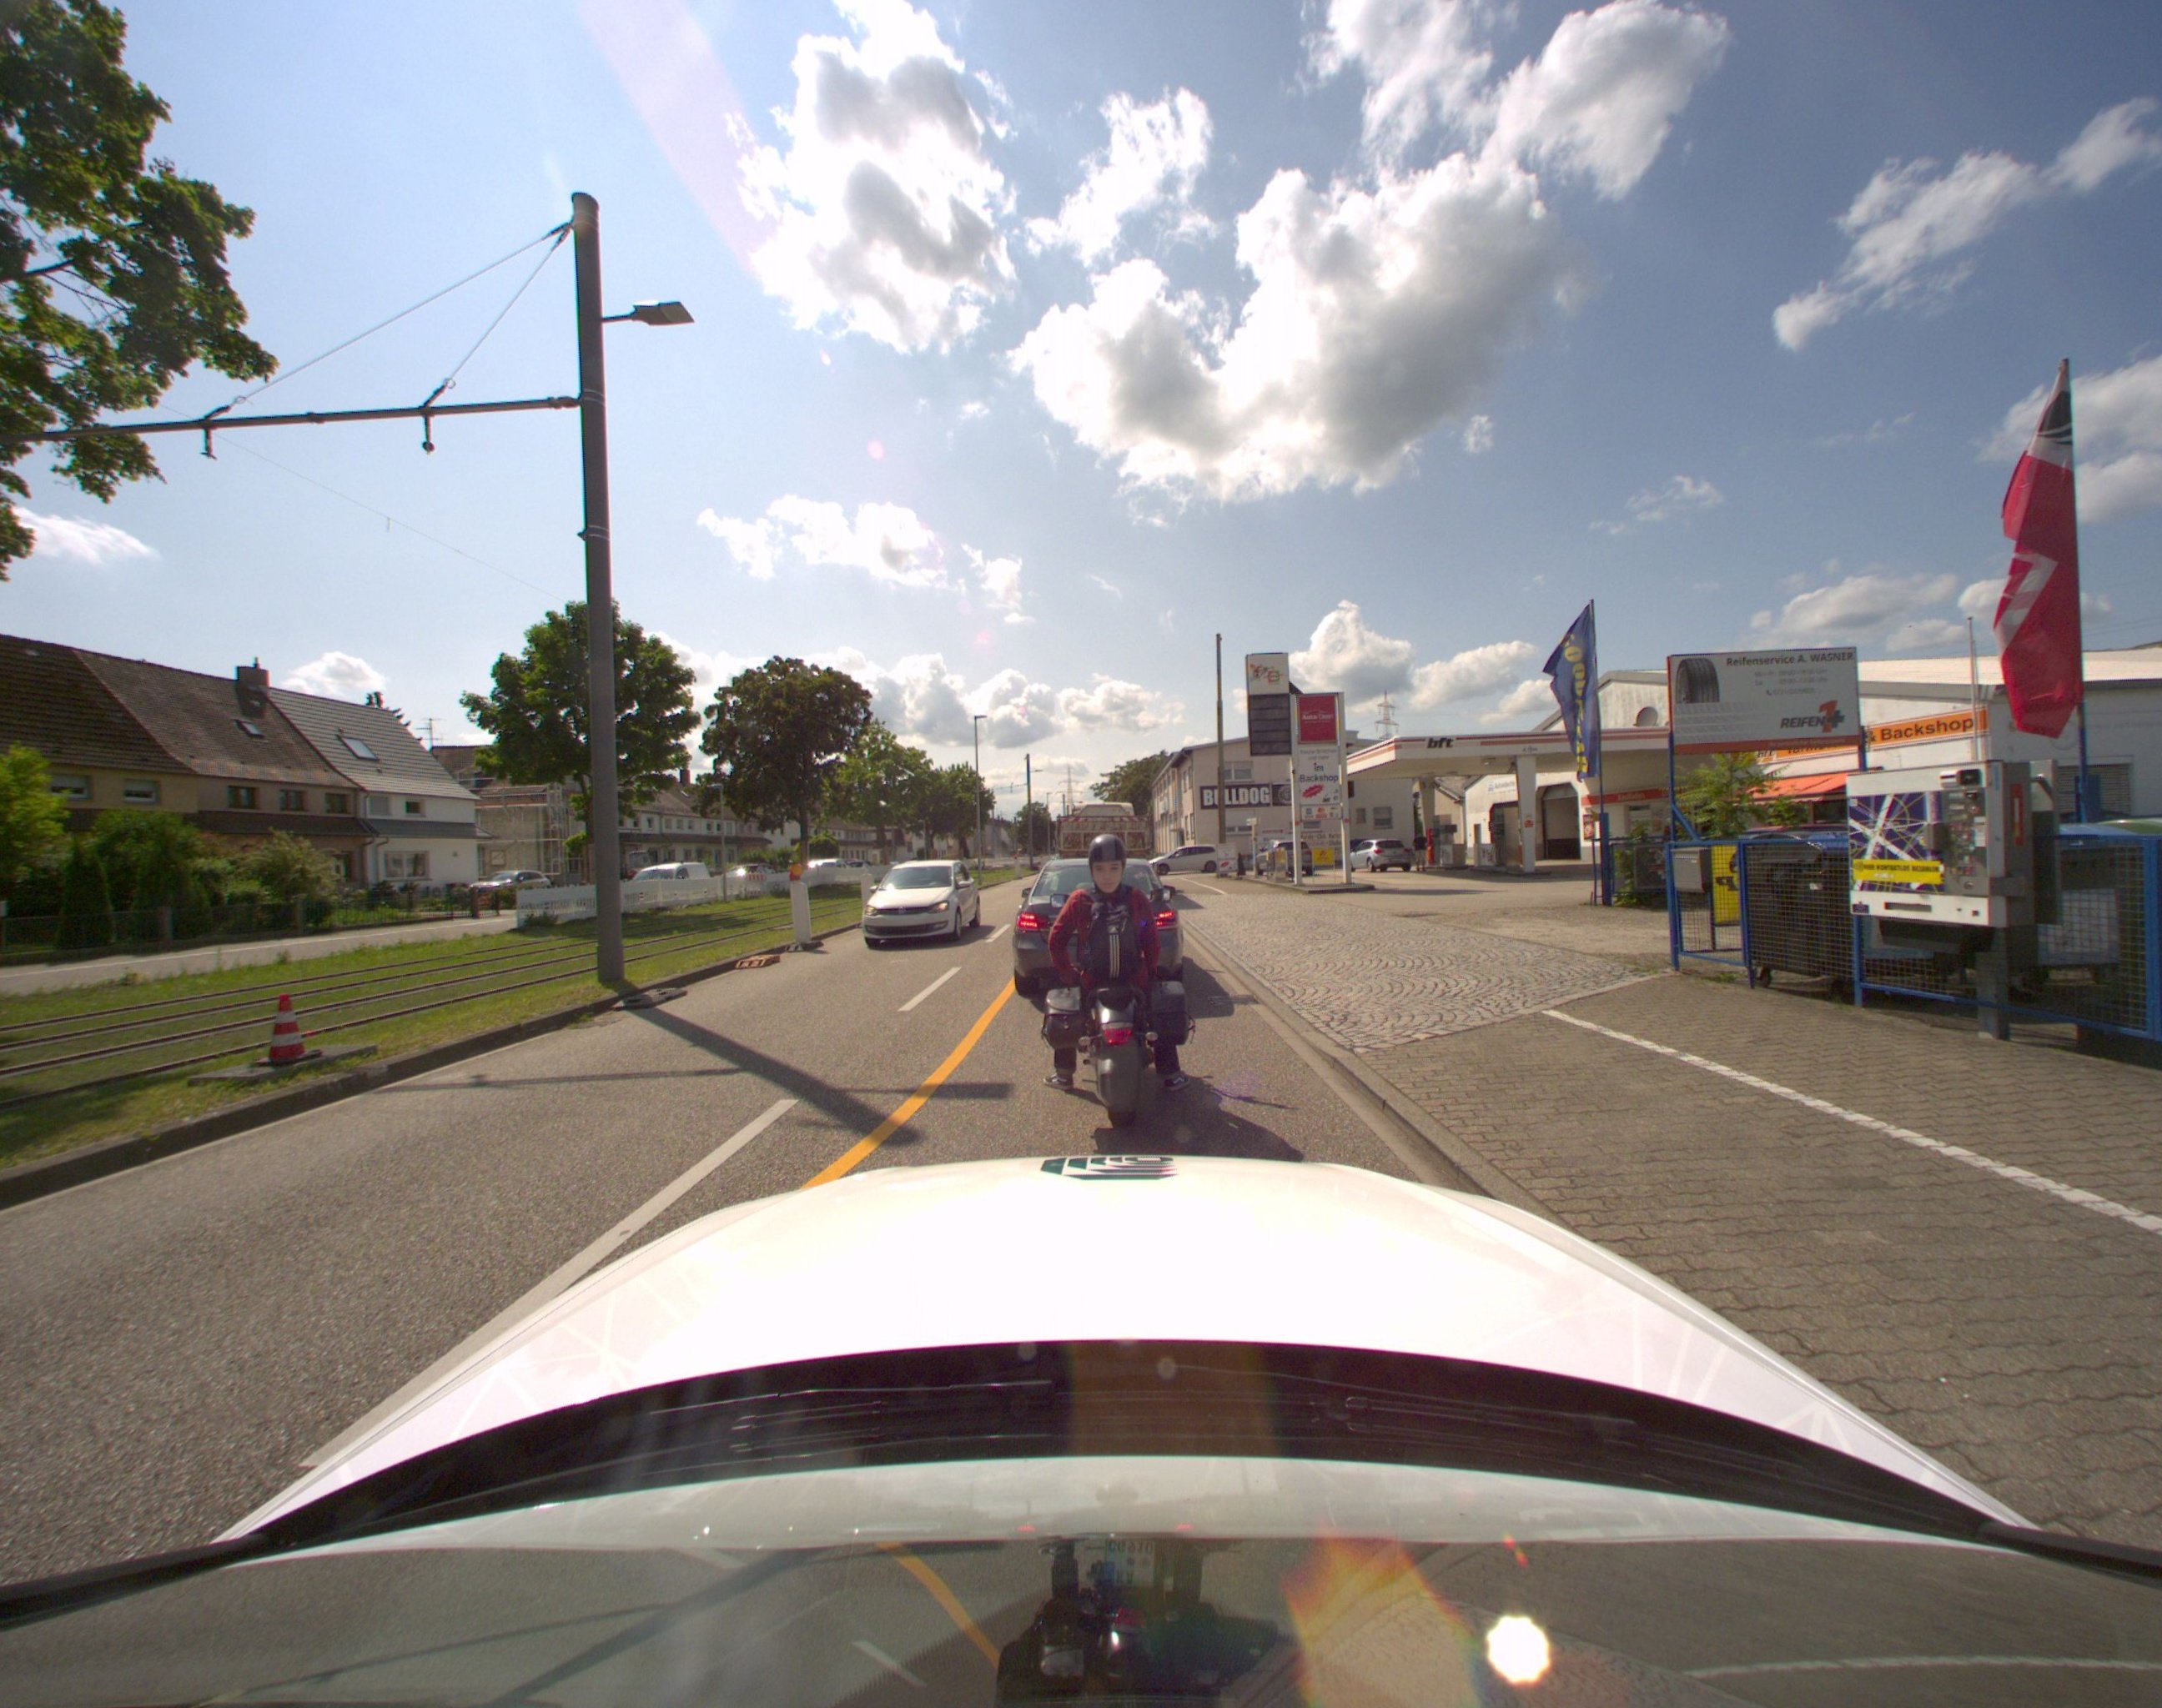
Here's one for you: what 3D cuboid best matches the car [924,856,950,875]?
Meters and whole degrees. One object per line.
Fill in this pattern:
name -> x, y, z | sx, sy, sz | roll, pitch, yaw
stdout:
car -> -14.183, 1.153, 80.406 | 1.692, 1.739, 3.862 | -2, 0, 2

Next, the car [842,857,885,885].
car -> -14.865, 1.141, 55.755 | 1.692, 1.739, 3.862 | -2, 0, 2

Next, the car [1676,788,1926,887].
car -> 16.606, -0.371, 18.960 | 3.972, 2.013, 2.001 | -2, 0, 1

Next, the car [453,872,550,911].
car -> -27.476, 1.732, 38.789 | 1.692, 1.593, 3.862 | -2, 0, 2

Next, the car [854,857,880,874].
car -> -24.463, 1.303, 93.135 | 1.692, 1.739, 4.064 | -2, 0, 2

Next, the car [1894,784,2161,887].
car -> 21.253, -0.400, 18.268 | 3.972, 2.013, 2.001 | -2, 0, 1

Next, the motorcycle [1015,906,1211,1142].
motorcycle -> 0.200, 0.932, 5.311 | 0.972, 1.013, 2.433 | -1, 0, 2

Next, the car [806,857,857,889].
car -> -15.057, 1.111, 49.388 | 1.692, 1.739, 3.862 | -2, 0, 2

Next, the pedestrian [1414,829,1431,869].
pedestrian -> 14.845, -0.209, 35.387 | 0.628, 1.683, 0.626 | -2, 0, 23

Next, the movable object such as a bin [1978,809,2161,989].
movable object such as a bin -> 9.454, 0.335, 7.188 | 1.425, 1.454, 1.455 | -2, 0, 0

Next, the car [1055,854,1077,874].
car -> -1.304, 0.827, 71.679 | 1.674, 1.624, 4.120 | -2, 0, 1

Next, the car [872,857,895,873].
car -> -24.048, 1.337, 99.338 | 1.692, 1.739, 4.064 | -2, 0, 2

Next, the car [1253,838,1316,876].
car -> 9.071, 0.123, 36.574 | 1.826, 1.536, 4.009 | -3, 0, 1

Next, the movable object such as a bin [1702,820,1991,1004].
movable object such as a bin -> 6.829, 0.470, 7.402 | 1.222, 1.454, 1.455 | -2, 0, 0

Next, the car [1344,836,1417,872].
car -> 13.542, -0.022, 37.067 | 1.826, 1.479, 4.009 | -3, 0, 1

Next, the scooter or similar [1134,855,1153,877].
scooter or similar -> 3.417, 0.650, 44.736 | 0.794, 1.144, 1.517 | -2, 0, -4

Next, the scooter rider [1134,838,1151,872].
scooter rider -> 3.389, 0.043, 44.729 | 0.794, 1.818, 0.507 | -2, 0, -6

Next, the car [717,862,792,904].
car -> -15.322, 1.325, 38.484 | 1.692, 1.739, 4.056 | -2, 0, 2

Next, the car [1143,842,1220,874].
car -> 5.769, 0.228, 47.047 | 4.101, 1.624, 1.682 | -3, 0, -7

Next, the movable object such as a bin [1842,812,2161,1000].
movable object such as a bin -> 8.109, 0.416, 7.278 | 1.222, 1.454, 1.455 | -2, 0, 0

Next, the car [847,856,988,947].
car -> -2.990, 0.806, 15.814 | 1.709, 1.413, 4.264 | -2, 0, 2

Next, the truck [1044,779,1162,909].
truck -> 0.646, -0.281, 25.602 | 2.960, 3.304, 8.407 | -2, 0, 1

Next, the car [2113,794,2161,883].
car -> 26.356, -0.433, 18.184 | 3.972, 2.013, 2.001 | -2, 0, 1

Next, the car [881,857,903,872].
car -> -24.378, 1.345, 105.362 | 1.692, 1.739, 4.064 | -2, 0, 2

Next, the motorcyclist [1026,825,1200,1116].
motorcyclist -> 0.199, 0.654, 5.194 | 0.966, 1.633, 1.215 | -1, 0, 1

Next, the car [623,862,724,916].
car -> -15.414, 1.278, 31.053 | 1.692, 1.817, 3.862 | -2, 0, 2

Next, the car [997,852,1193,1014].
car -> 0.162, 0.758, 9.856 | 1.826, 1.479, 4.009 | -3, 0, 1
